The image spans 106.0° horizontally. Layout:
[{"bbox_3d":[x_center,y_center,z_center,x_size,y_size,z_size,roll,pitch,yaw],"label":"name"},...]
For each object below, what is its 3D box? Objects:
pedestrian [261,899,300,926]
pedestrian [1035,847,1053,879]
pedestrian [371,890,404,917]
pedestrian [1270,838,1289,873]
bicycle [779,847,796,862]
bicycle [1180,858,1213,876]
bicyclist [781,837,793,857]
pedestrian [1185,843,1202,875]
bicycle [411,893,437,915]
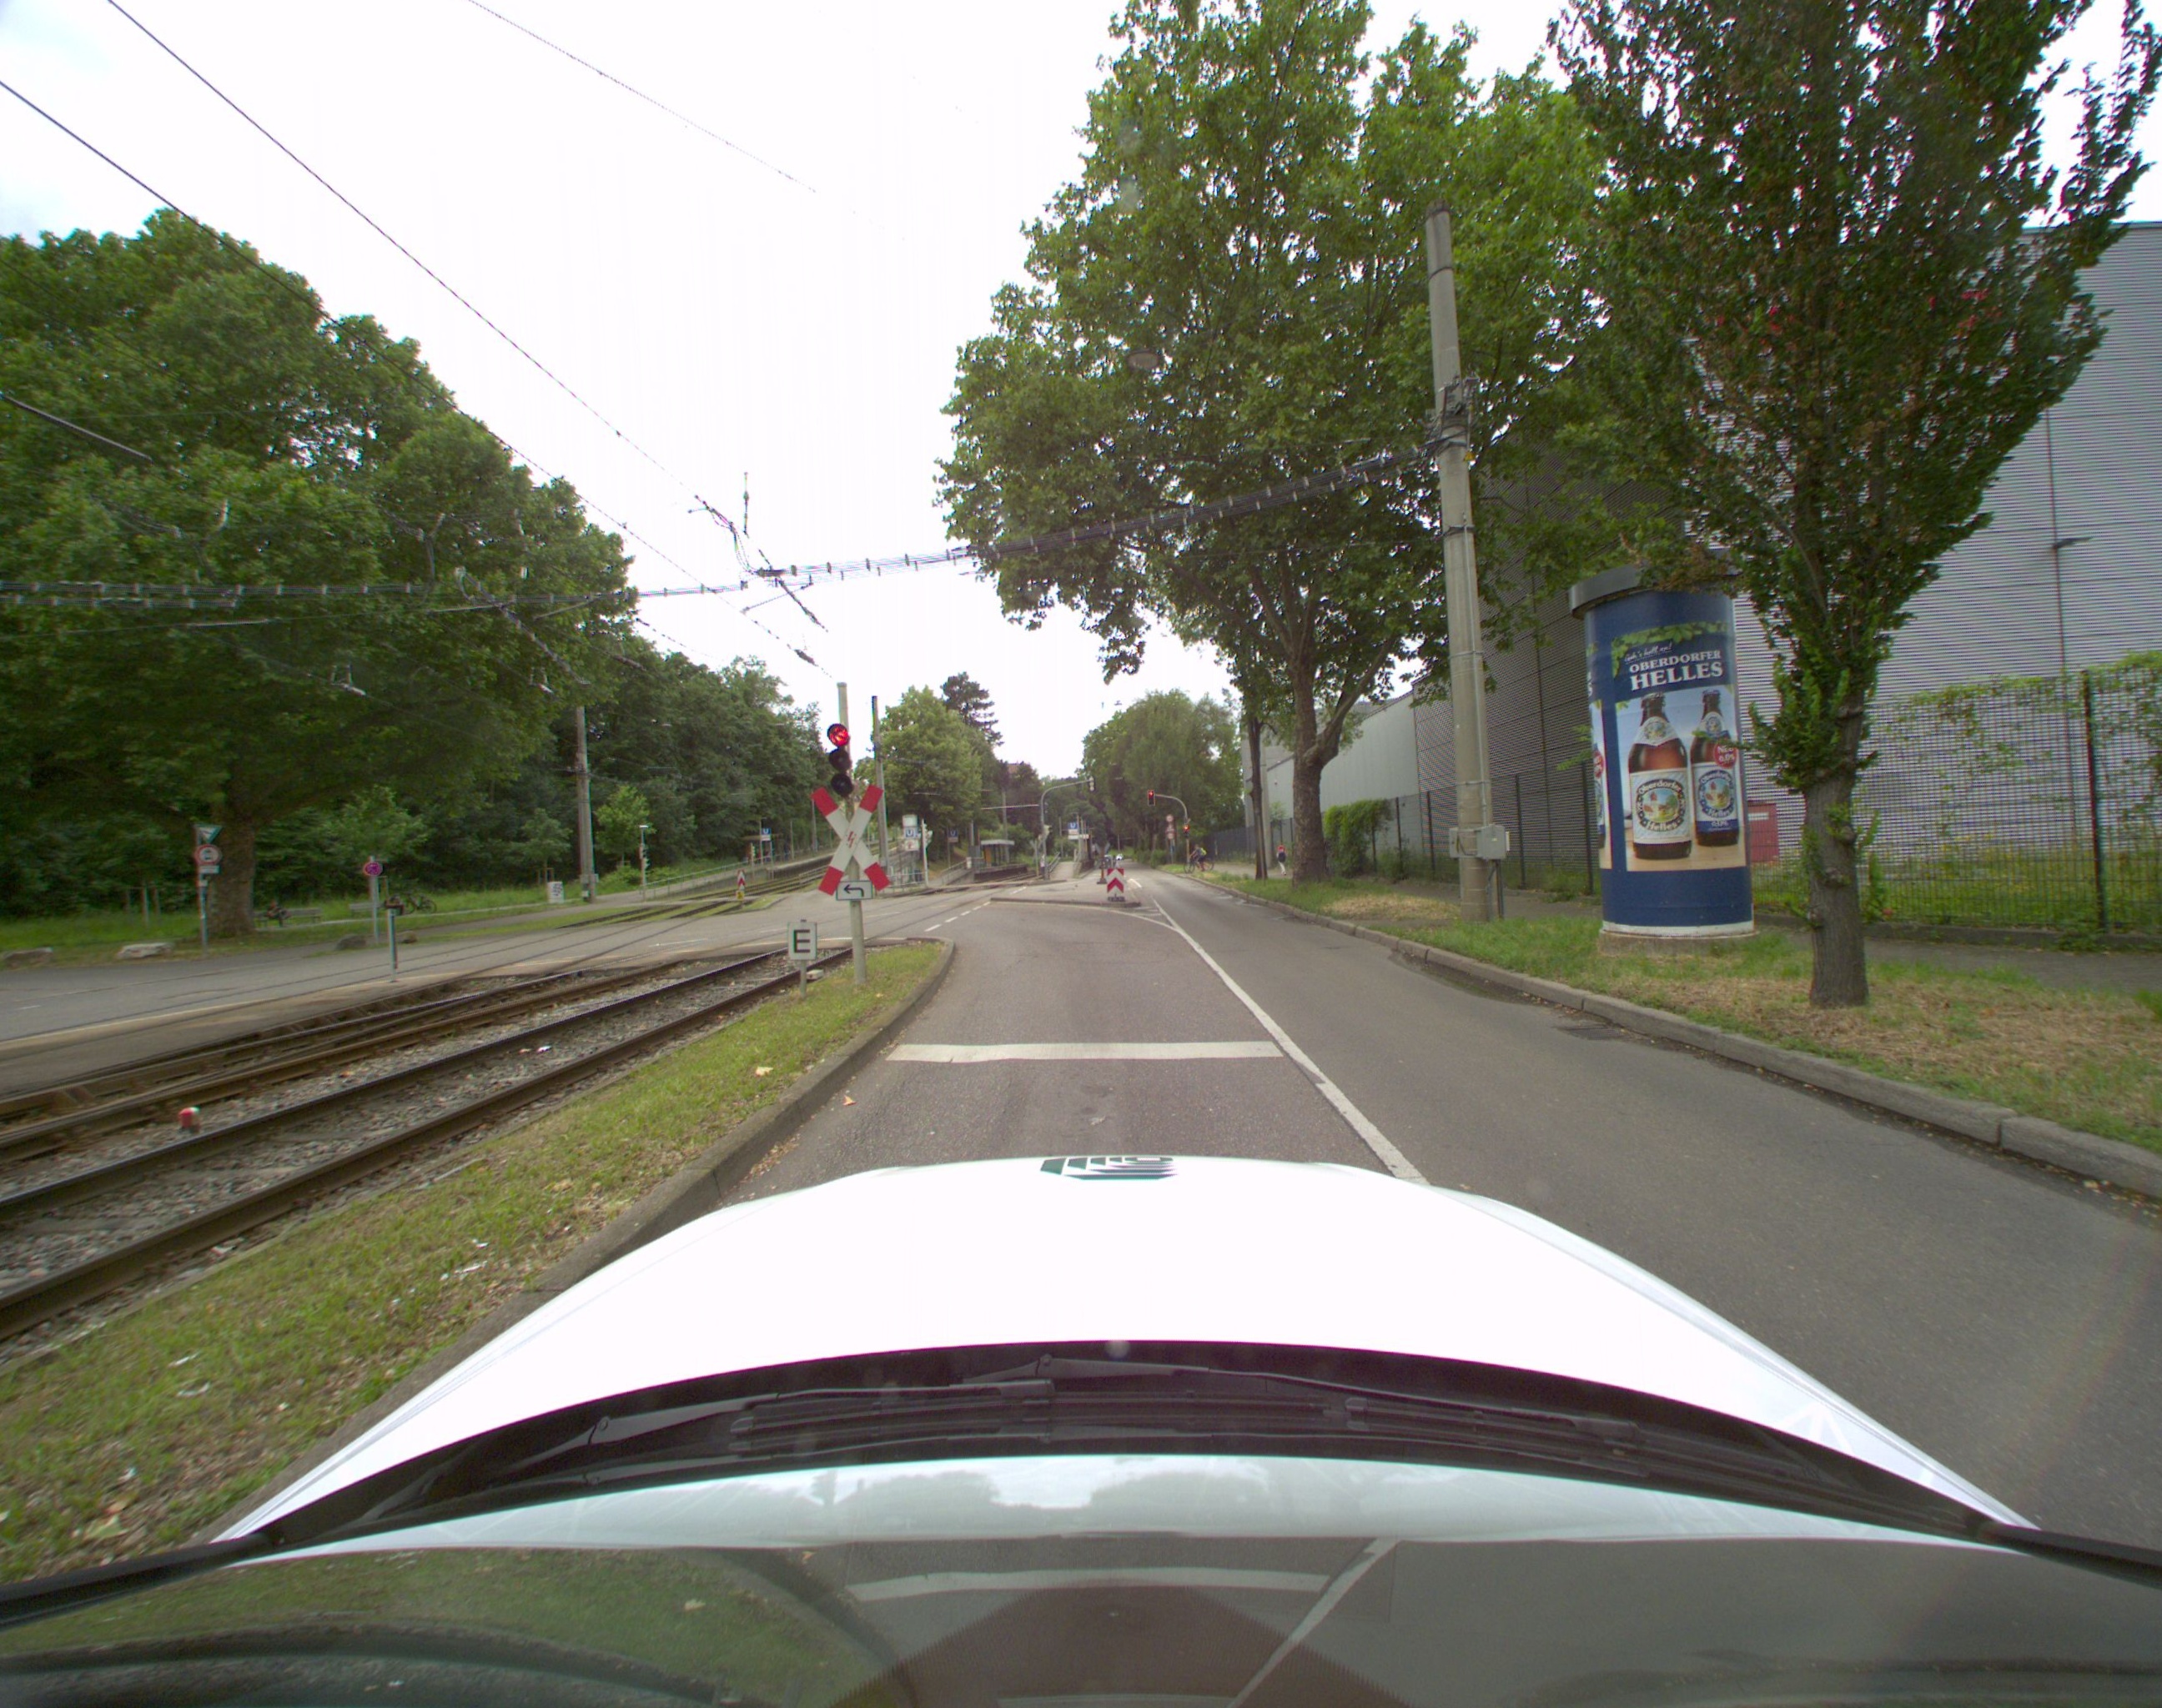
[{"bbox_3d":[-35.022,2.557,35.615,0.894,1.095,1.088,-2,-1,37],"label":"pedestrian"},{"bbox_3d":[-2.214,0.558,48.690,0.903,1.852,0.771,-3,0,2],"label":"pedestrian"},{"bbox_3d":[-33.471,2.375,39.311,1.102,1.268,1.063,-2,-1,39],"label":"pedestrian"},{"bbox_3d":[9.147,0.085,37.486,0.662,1.553,0.936,-3,0,8],"label":"pedestrian"},{"bbox_3d":[-29.347,0.017,81.572,0.823,1.343,2.990,-4,3,-6],"label":"bicycle"},{"bbox_3d":[7.409,0.811,52.243,2.063,1.007,0.669,-3,0,7],"label":"bicycle"},{"bbox_3d":[-29.362,-0.702,81.392,0.820,1.848,1.049,-3,2,-6],"label":"bicyclist"},{"bbox_3d":[7.228,0.318,52.327,0.926,2.013,0.669,-3,0,7],"label":"pedestrian"},{"bbox_3d":[-32.542,2.468,40.304,1.631,1.012,0.680,-2,-1,39],"label":"bicycle"}]
